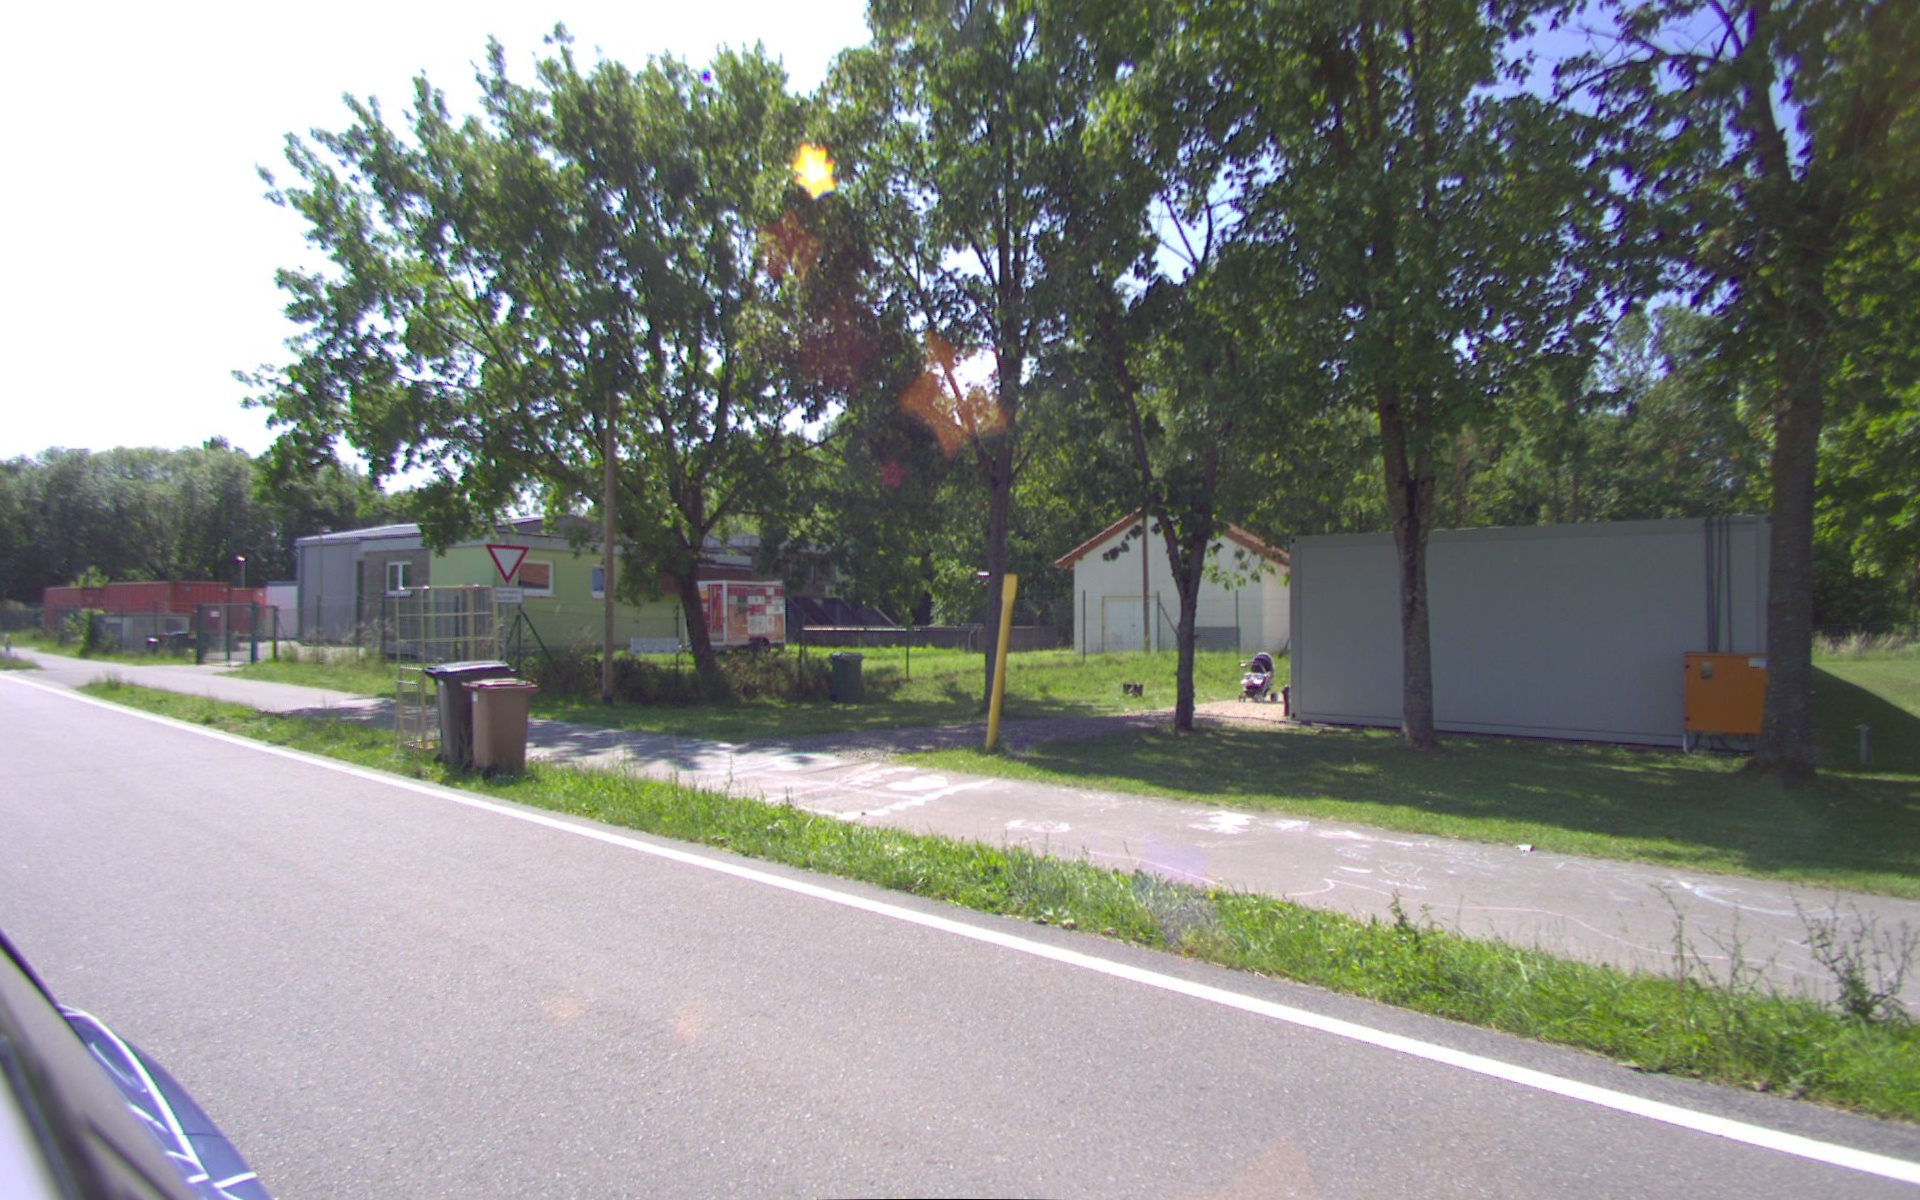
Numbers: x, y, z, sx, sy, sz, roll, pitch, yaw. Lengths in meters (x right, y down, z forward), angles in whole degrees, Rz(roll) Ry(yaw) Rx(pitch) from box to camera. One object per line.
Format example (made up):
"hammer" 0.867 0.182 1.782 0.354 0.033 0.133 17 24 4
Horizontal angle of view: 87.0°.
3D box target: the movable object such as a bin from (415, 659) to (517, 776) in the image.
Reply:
"movable object such as a bin" -4.760 1.104 9.753 0.690 1.032 0.749 2 -3 -42

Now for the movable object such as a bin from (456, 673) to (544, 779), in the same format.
"movable object such as a bin" -4.169 1.122 9.173 0.555 0.883 0.614 2 -3 -42

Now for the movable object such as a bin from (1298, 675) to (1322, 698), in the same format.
"movable object such as a bin" 7.500 1.850 21.671 0.296 0.465 0.662 -1 -2 36

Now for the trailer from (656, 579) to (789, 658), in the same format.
"trailer" -7.290 0.602 31.477 1.818 2.295 4.201 -1 -2 25

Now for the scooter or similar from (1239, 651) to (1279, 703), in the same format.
"scooter or similar" 6.030 1.534 20.390 0.533 1.005 0.886 -1 -2 35

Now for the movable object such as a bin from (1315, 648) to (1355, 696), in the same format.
"movable object such as a bin" 8.291 1.584 22.363 0.663 1.021 0.688 -1 -2 37

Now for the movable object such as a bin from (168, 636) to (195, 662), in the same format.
"movable object such as a bin" -26.326 1.654 34.235 0.631 0.861 0.654 2 -3 -44

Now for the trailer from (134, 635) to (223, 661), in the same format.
"trailer" -28.582 1.739 36.992 3.349 0.873 1.617 -1 -2 35
